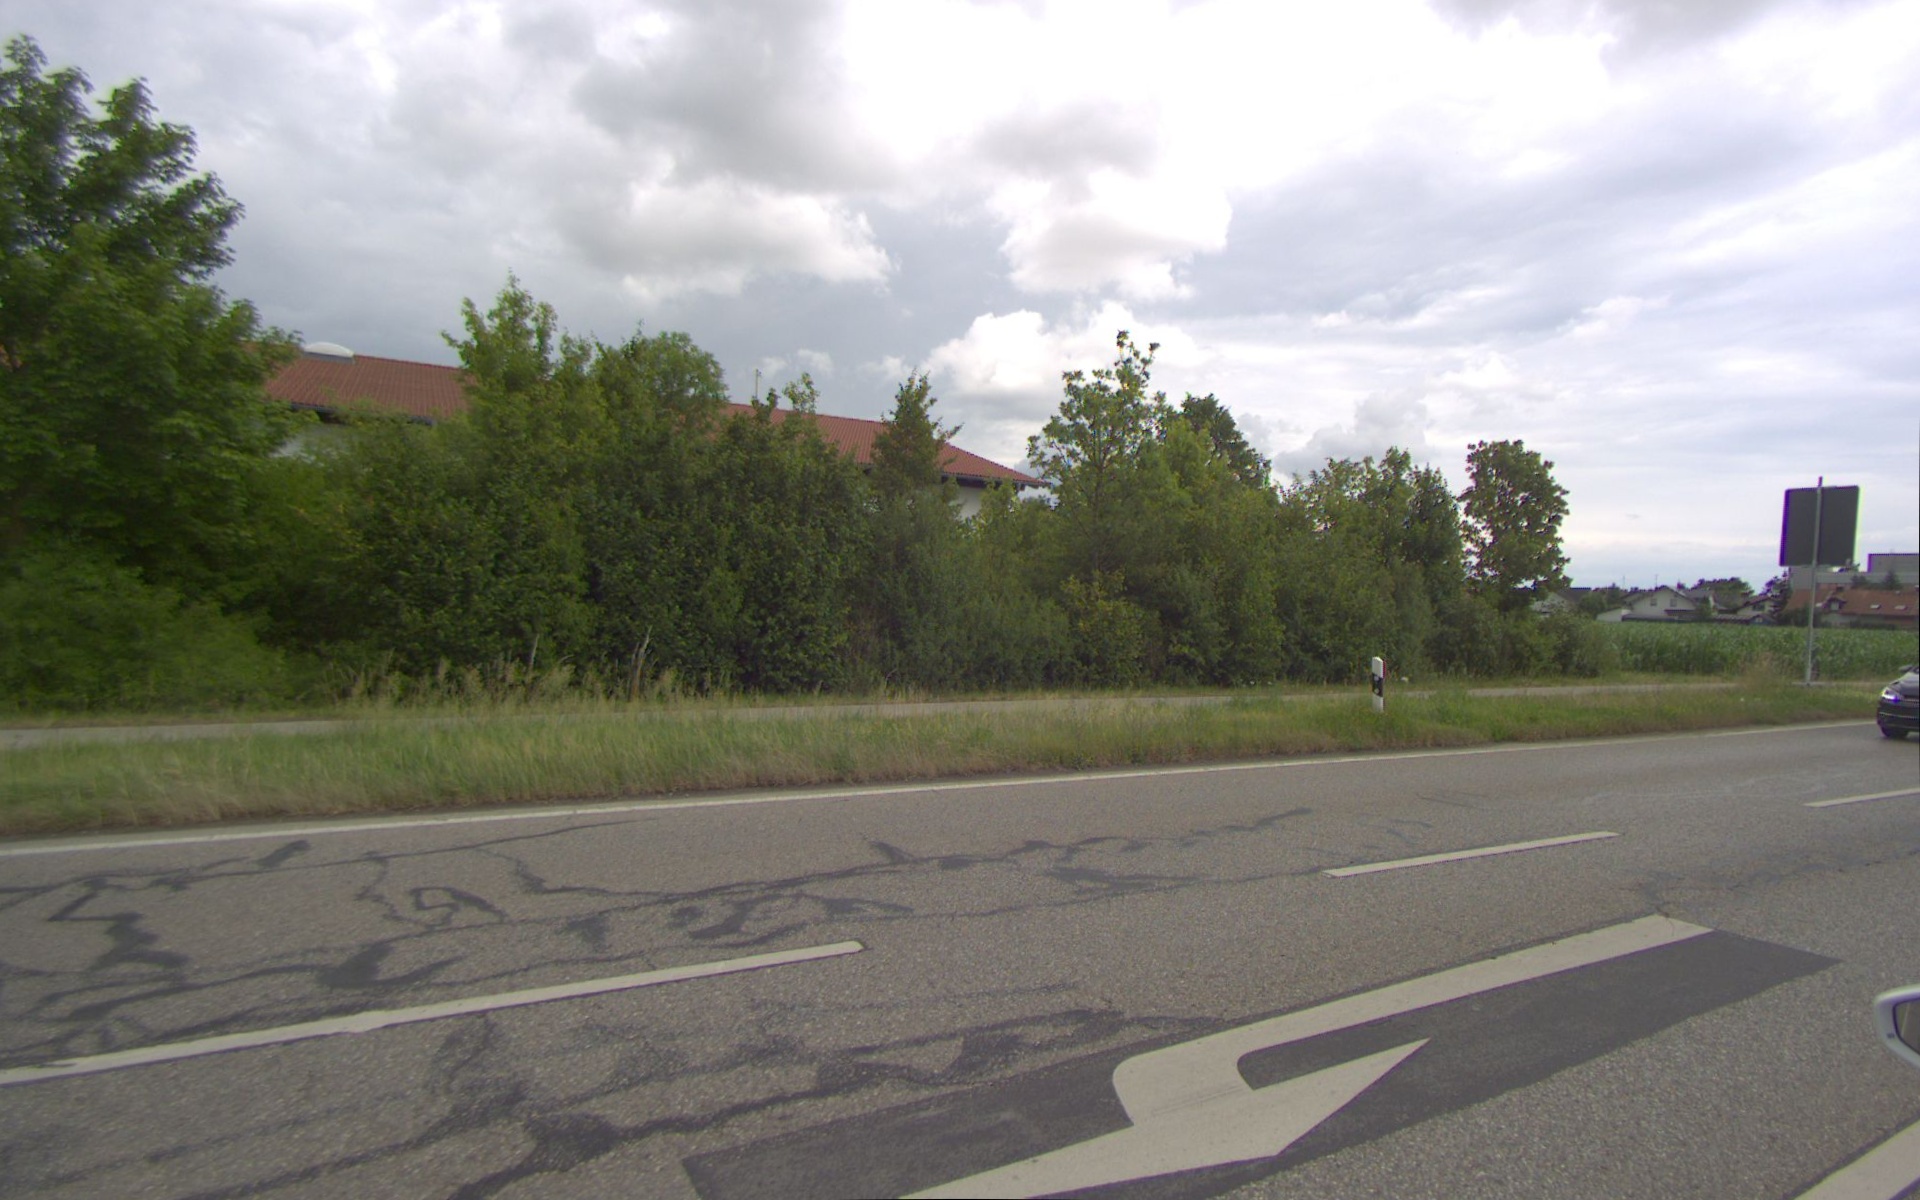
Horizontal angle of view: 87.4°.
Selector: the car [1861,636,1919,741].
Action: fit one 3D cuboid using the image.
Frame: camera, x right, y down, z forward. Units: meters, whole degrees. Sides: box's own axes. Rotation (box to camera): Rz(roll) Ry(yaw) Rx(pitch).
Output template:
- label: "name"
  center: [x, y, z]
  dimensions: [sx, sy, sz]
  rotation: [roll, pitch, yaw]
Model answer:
- label: "car"
  center: [15.291, 1.303, 14.898]
  dimensions: [4.252, 1.448, 1.661]
  rotation: [2, -1, -30]
